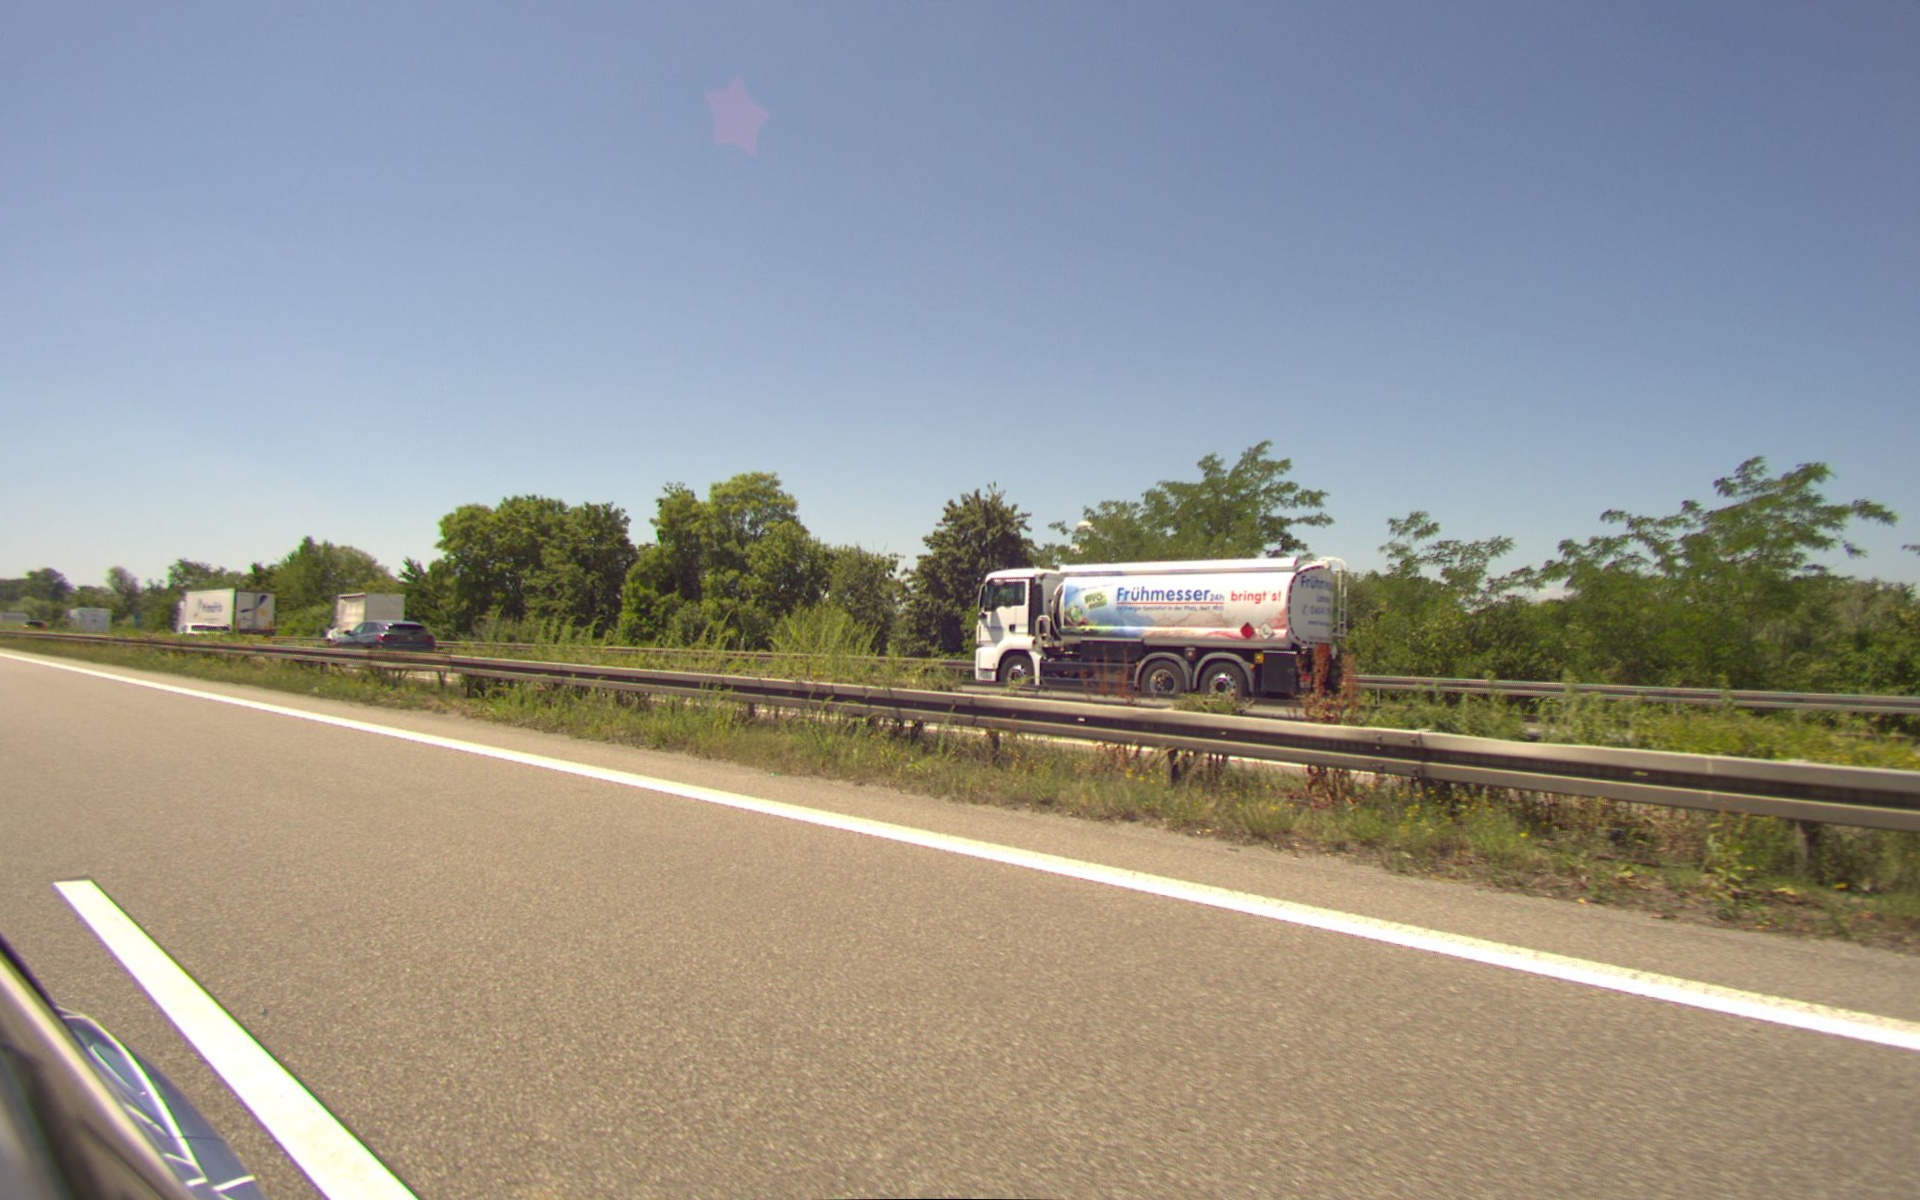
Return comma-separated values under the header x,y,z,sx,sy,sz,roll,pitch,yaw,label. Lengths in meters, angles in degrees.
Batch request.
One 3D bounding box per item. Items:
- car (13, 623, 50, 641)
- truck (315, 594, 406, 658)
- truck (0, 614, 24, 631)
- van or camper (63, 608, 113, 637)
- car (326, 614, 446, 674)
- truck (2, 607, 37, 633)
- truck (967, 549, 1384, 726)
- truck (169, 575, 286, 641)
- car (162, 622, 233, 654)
x,y,z,sx,sy,sz,roll,pitch,yaw,label
-81.216,2.770,88.483,3.998,1.530,1.972,-1,-2,41,car
-35.059,1.517,59.076,7.419,3.491,2.344,-1,-2,42,truck
-124.158,2.945,131.785,7.137,2.083,2.699,-1,-3,43,truck
-80.079,2.081,92.841,7.806,2.579,2.441,-1,-3,42,van or camper
-18.045,1.348,31.760,4.240,1.747,1.973,-1,-2,41,car
-154.824,3.343,166.486,15.931,4.084,2.700,-1,-2,42,truck
4.385,0.768,22.499,8.921,3.232,2.683,-1,-2,42,truck
-55.758,0.779,76.671,17.184,4.411,3.182,-1,-5,41,truck
-37.832,1.859,50.192,4.240,1.521,1.973,-1,-2,41,car
